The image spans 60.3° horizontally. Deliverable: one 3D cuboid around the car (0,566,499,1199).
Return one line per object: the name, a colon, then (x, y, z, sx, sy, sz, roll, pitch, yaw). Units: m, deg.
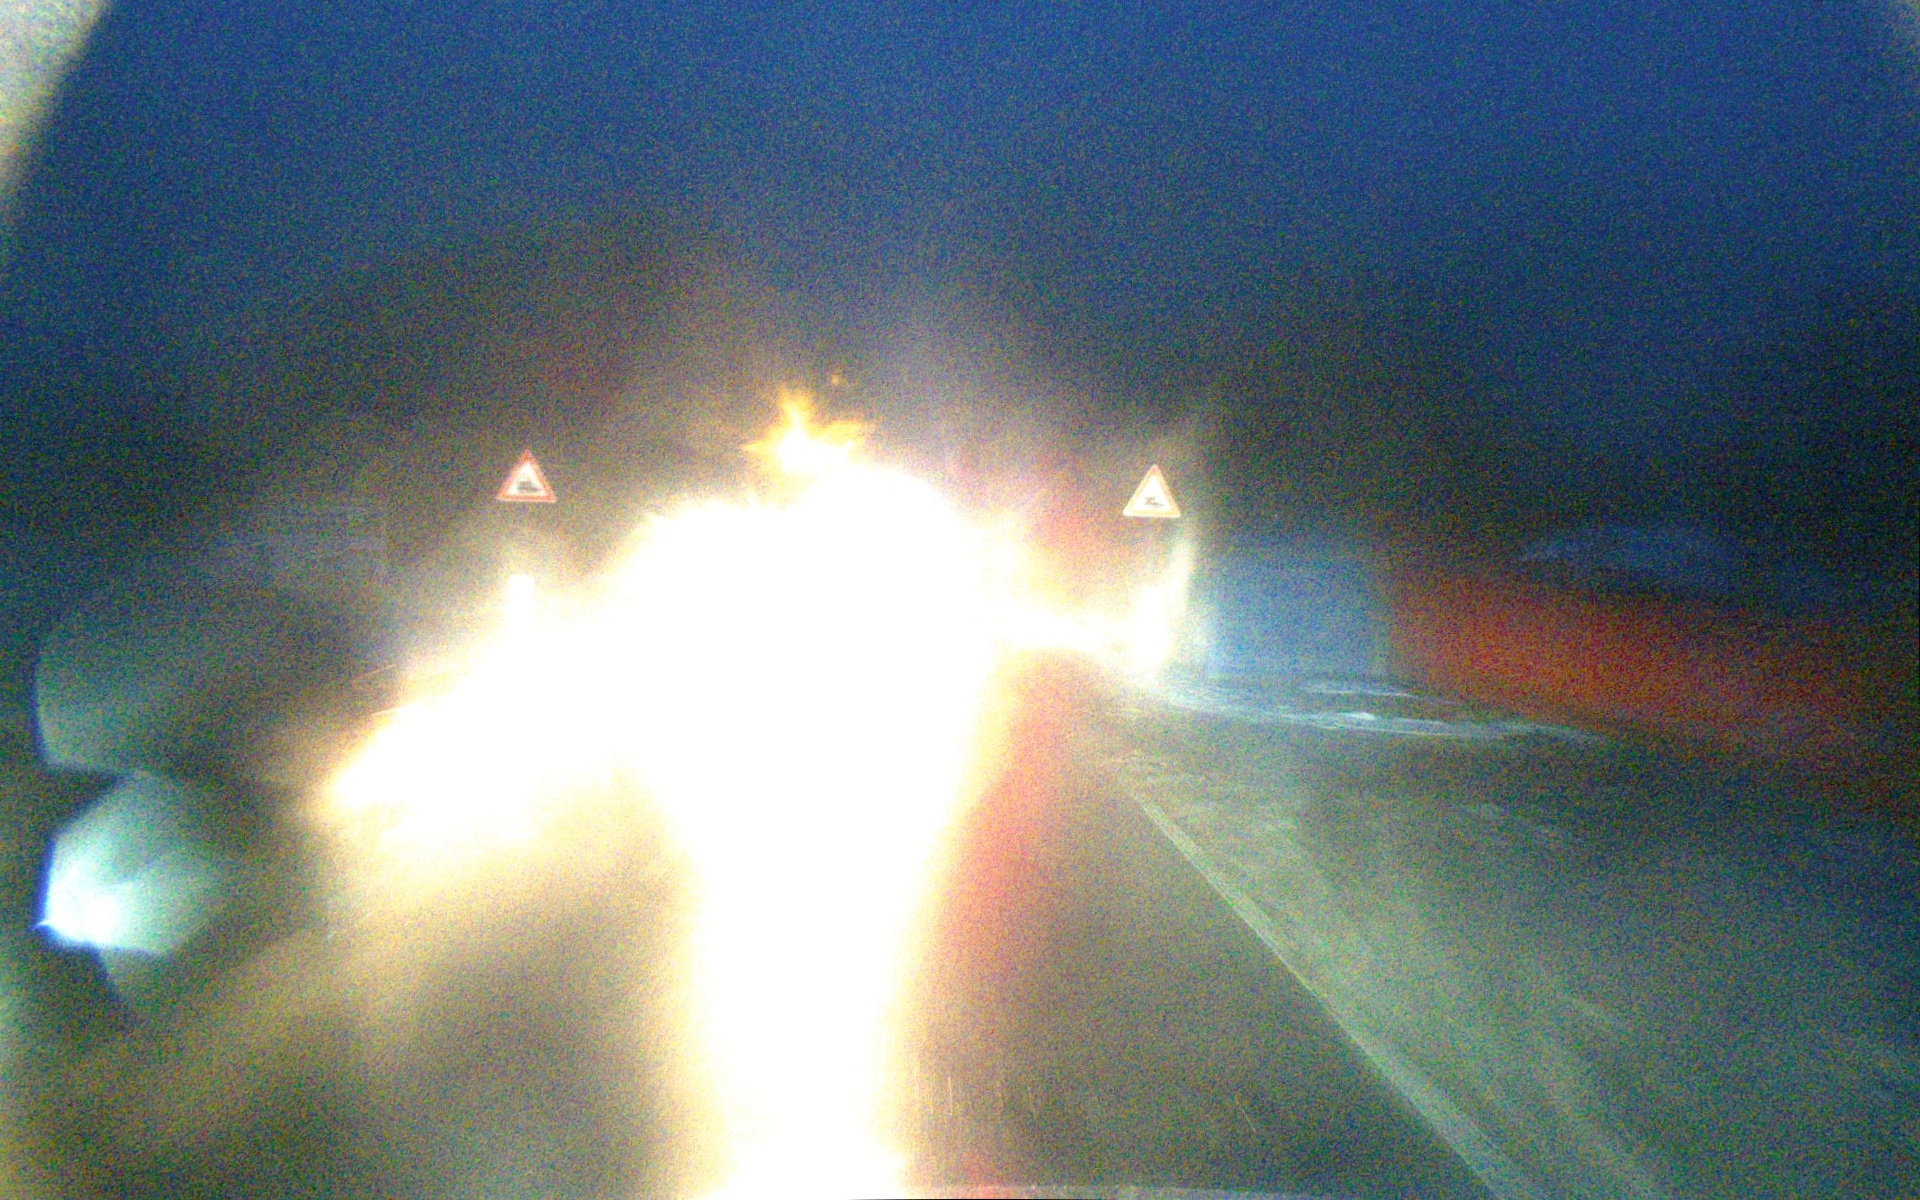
car: (-3.195, 0.635, 5.387, 1.953, 1.485, 4.898, 2, 0, 0)

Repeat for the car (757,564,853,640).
car: (-3.385, 0.038, 36.727, 1.765, 1.535, 3.614, 2, 0, -1)

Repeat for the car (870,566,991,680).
car: (-0.480, 0.335, 27.041, 1.765, 1.657, 3.614, 3, 0, -1)
